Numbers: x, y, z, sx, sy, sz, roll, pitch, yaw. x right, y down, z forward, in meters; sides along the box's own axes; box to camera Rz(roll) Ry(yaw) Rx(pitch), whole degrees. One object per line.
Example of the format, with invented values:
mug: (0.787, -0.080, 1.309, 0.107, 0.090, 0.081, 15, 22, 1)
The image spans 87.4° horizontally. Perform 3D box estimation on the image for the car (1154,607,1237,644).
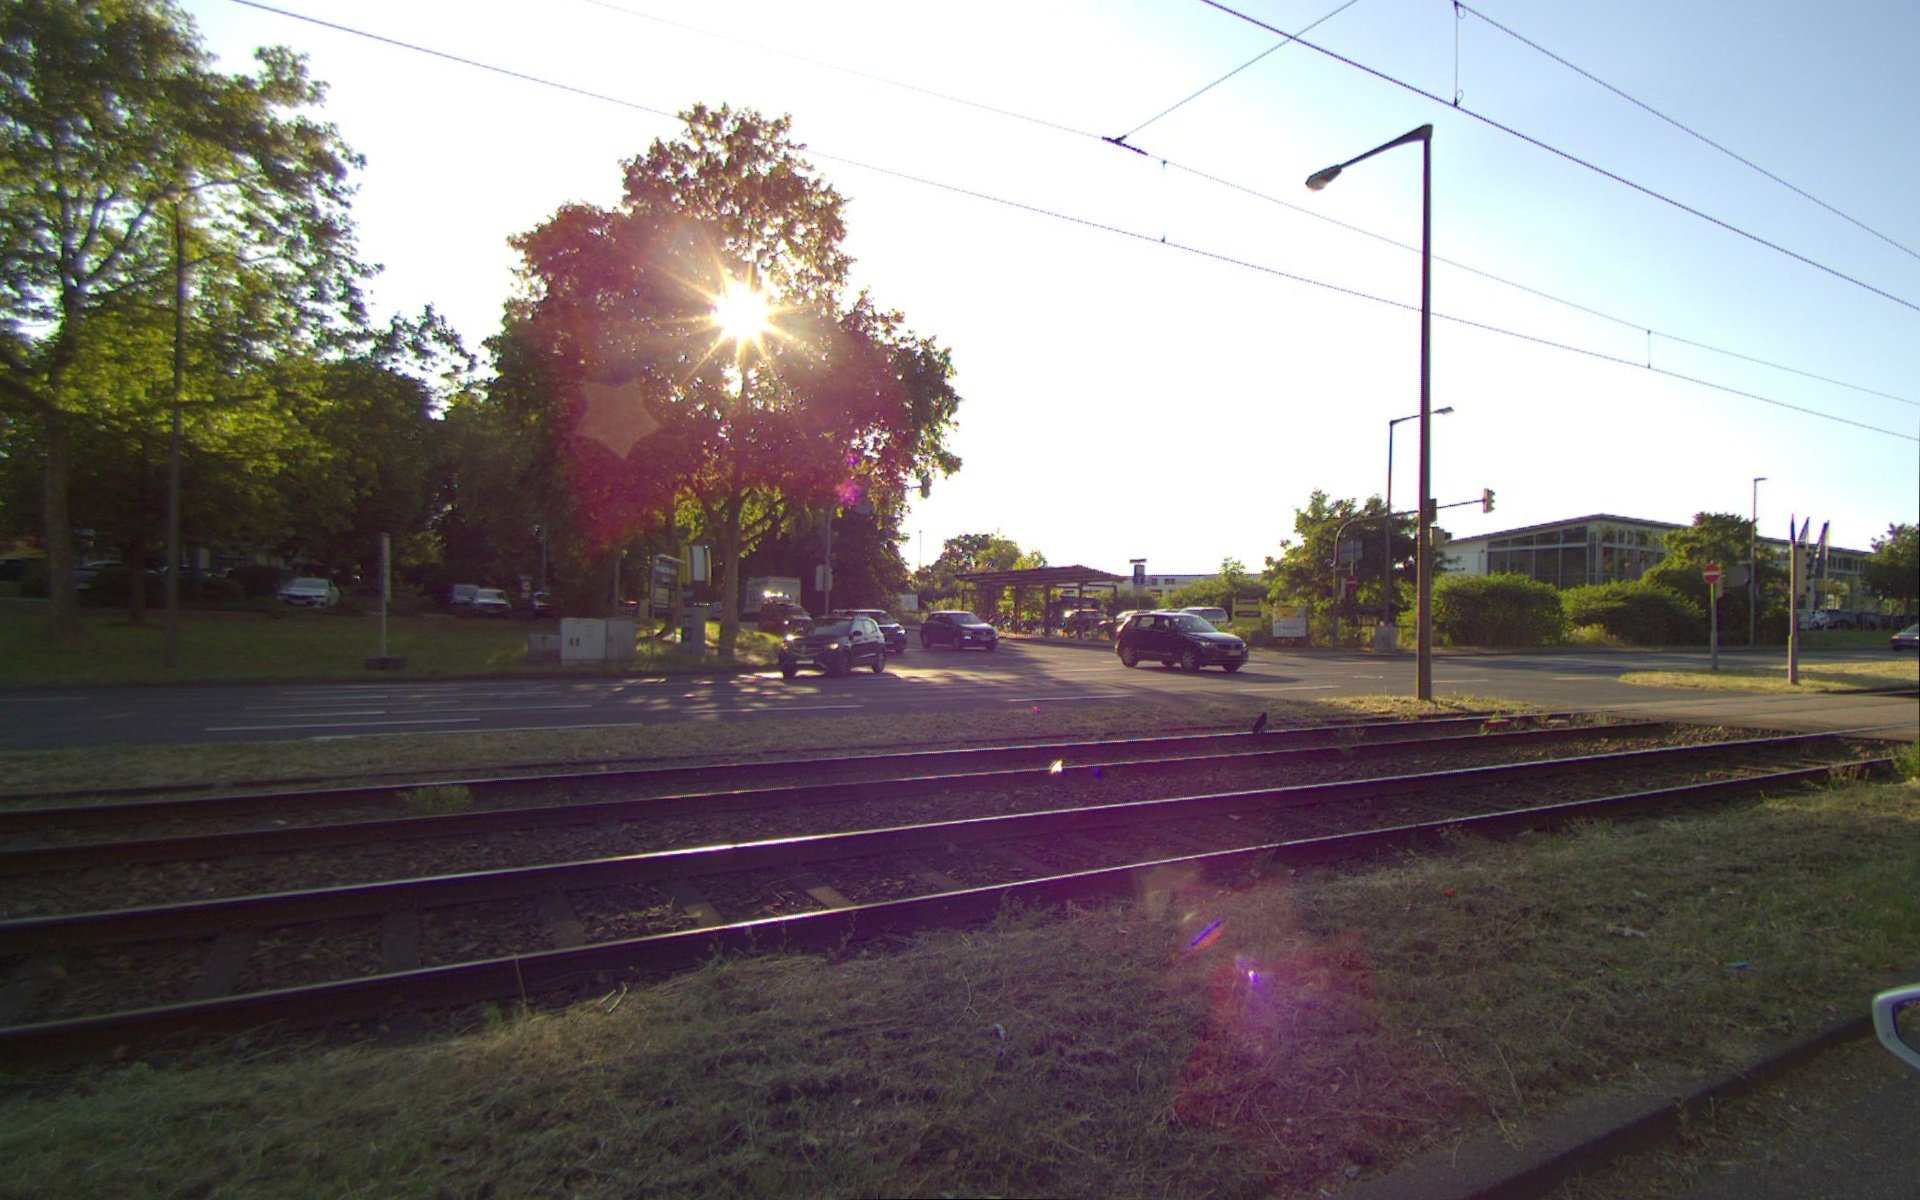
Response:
car: (12.361, 1.337, 52.736, 4.123, 1.846, 1.853, 1, 0, -30)

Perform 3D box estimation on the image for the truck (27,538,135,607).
truck: (-44.515, -1.323, 51.066, 2.468, 3.209, 6.187, 2, 0, -26)

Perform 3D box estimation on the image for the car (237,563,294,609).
car: (-37.298, -0.733, 54.009, 2.138, 2.334, 4.370, 2, 0, -31)

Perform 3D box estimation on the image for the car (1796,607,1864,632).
car: (68.362, 1.500, 78.982, 3.940, 1.840, 1.735, 1, 0, 40)

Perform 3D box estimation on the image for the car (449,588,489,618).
car: (-28.574, 0.143, 58.496, 1.836, 1.637, 4.036, 2, 0, -23)

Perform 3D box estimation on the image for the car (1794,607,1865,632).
car: (65.179, 1.452, 75.370, 3.940, 1.727, 1.735, 1, 0, 40)

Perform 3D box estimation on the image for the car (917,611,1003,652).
car: (-0.047, 1.247, 40.928, 1.692, 1.581, 4.133, 0, -1, -30)

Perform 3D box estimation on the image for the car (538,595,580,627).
car: (-20.441, 0.538, 51.139, 1.604, 1.477, 3.878, 2, 0, -27)

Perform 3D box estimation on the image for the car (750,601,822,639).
car: (-8.402, 0.937, 48.259, 1.824, 1.656, 4.270, 1, 0, -34)

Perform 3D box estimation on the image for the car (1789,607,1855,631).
car: (69.324, 1.518, 80.827, 3.940, 1.840, 1.735, 1, 0, 40)

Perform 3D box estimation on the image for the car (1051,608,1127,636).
car: (7.715, 1.302, 59.994, 4.123, 1.604, 1.968, 1, 0, -30)

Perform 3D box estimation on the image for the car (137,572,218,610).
car: (-33.958, -0.377, 43.685, 1.916, 1.530, 4.071, 2, 0, -26)

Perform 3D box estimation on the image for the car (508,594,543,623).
car: (-26.246, 0.520, 60.765, 1.836, 1.637, 4.036, 2, 0, -23)

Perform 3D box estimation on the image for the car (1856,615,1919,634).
car: (81.766, 2.163, 88.509, 1.728, 1.576, 3.957, 1, 0, -37)

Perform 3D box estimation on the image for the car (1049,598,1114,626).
car: (9.287, 0.948, 76.665, 4.715, 2.041, 1.853, 1, 0, -30)

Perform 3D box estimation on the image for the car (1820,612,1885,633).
car: (74.208, 1.853, 83.610, 3.940, 1.577, 1.735, 1, 0, 40)

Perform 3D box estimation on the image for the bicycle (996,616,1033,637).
bicycle: (3.068, 1.486, 56.413, 2.004, 1.119, 0.777, 2, 0, -30)

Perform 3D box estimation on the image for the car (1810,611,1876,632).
car: (71.988, 1.757, 81.943, 3.940, 1.577, 1.735, 1, 0, 40)

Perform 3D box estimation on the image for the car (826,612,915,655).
car: (-3.516, 1.289, 38.785, 1.717, 1.565, 4.298, 1, -2, -31)

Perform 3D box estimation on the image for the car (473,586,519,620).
car: (-22.937, 0.126, 49.590, 1.916, 1.530, 4.071, 2, 0, -26)

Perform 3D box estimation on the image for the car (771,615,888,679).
car: (-3.406, 1.221, 26.948, 1.722, 1.578, 3.975, 0, -2, 15)

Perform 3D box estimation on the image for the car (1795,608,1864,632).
car: (66.725, 1.502, 77.170, 3.940, 1.727, 1.735, 1, 0, 40)

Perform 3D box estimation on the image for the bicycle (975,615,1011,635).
bicycle: (1.926, 1.464, 59.049, 2.004, 1.119, 0.777, 2, 0, -30)

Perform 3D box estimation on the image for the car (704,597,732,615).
car: (-22.856, 0.546, 94.816, 1.711, 1.603, 4.028, 1, 0, -27)

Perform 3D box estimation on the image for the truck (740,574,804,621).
truck: (-15.010, -0.240, 79.810, 2.782, 3.520, 8.291, 1, 0, -27)

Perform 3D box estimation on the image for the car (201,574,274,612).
car: (-32.115, -0.304, 44.758, 1.916, 1.530, 4.071, 2, 0, -26)

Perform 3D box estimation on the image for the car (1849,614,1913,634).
car: (79.613, 2.075, 86.891, 3.940, 1.577, 1.735, 1, 0, 40)

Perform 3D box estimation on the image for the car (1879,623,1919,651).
car: (56.718, 2.183, 59.416, 4.110, 1.501, 1.859, 1, 0, -21)

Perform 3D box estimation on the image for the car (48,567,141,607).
car: (-36.090, -0.539, 42.022, 1.916, 1.530, 4.071, 2, 0, -26)

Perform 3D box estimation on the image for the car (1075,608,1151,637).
car: (8.819, 1.295, 57.799, 4.123, 1.604, 1.853, 1, 0, -30)

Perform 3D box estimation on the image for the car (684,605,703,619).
car: (-33.264, 1.458, 125.303, 1.887, 1.602, 4.036, 2, 0, -21)

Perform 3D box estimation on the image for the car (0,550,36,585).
car: (-53.861, -1.863, 56.384, 2.274, 1.875, 5.220, 2, 0, -36)

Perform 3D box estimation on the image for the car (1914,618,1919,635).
car: (91.298, 2.512, 93.020, 1.725, 1.642, 3.962, 1, 0, -34)

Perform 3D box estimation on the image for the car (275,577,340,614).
car: (-29.434, -0.203, 45.440, 1.916, 1.530, 4.071, 2, 0, -26)

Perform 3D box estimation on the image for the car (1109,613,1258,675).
car: (6.491, 1.231, 29.656, 1.857, 1.656, 4.334, 1, -1, -31)

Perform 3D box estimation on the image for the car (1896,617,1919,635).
car: (88.382, 2.396, 91.741, 1.725, 1.642, 3.962, 1, 0, -34)
